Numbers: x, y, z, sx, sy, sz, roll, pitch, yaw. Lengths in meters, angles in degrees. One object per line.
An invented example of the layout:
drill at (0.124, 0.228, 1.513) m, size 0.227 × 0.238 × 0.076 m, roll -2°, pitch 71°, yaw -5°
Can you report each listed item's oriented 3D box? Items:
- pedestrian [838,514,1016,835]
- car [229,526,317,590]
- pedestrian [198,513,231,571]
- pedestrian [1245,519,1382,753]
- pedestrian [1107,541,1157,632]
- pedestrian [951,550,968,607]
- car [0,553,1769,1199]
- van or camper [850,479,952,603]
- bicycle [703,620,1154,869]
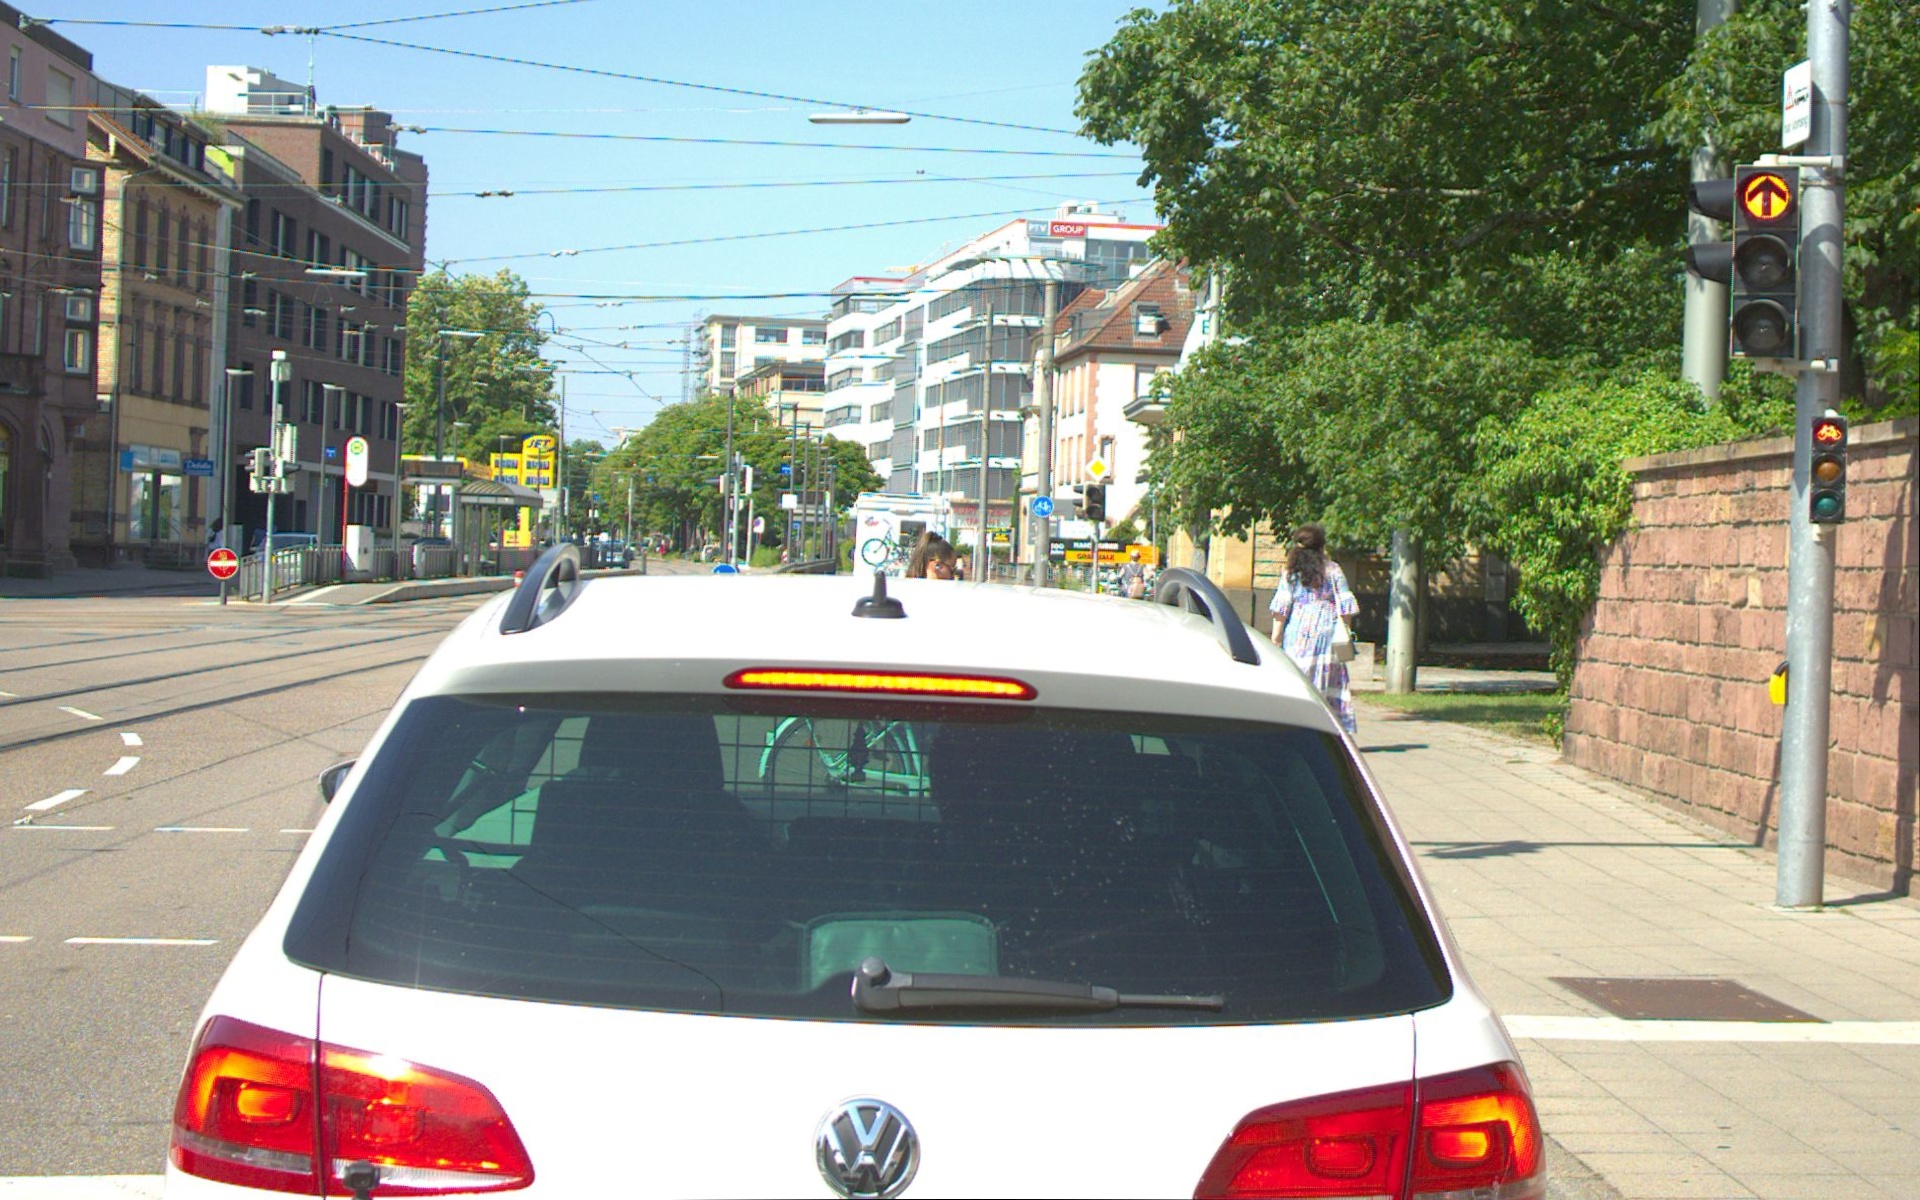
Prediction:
pedestrian at (-0.174, 0.358, 17.215) m, size 0.745 × 1.566 × 0.675 m, roll 0°, pitch 2°, yaw -13°
car at (-18.040, -1.092, 90.376) m, size 1.740 × 1.612 × 4.000 m, roll 0°, pitch 0°, yaw -4°
pedestrian at (-22.594, -1.765, 104.178) m, size 0.861 × 1.737 × 0.975 m, roll 0°, pitch 0°, yaw -6°
pedestrian at (2.533, 0.252, 24.717) m, size 0.953 × 1.645 × 0.975 m, roll 0°, pitch 0°, yaw 5°
pedestrian at (3.310, -0.253, 66.267) m, size 0.861 × 1.737 × 0.975 m, roll 0°, pitch 0°, yaw -3°
pedestrian at (-0.019, -0.870, 141.232) m, size 0.690 × 2.317 × 1.232 m, roll 0°, pitch 0°, yaw 1°
car at (-0.143, 0.680, 5.442) m, size 1.808 × 1.443 × 4.000 m, roll 2°, pitch 1°, yaw -1°
van or camper at (-1.551, -1.482, 89.188) m, size 2.566 × 3.082 × 5.703 m, roll 0°, pitch 0°, yaw -1°
bicycle at (-0.159, 0.696, 16.657) m, size 2.019 × 1.086 × 0.710 m, roll 3°, pitch 0°, yaw -14°
